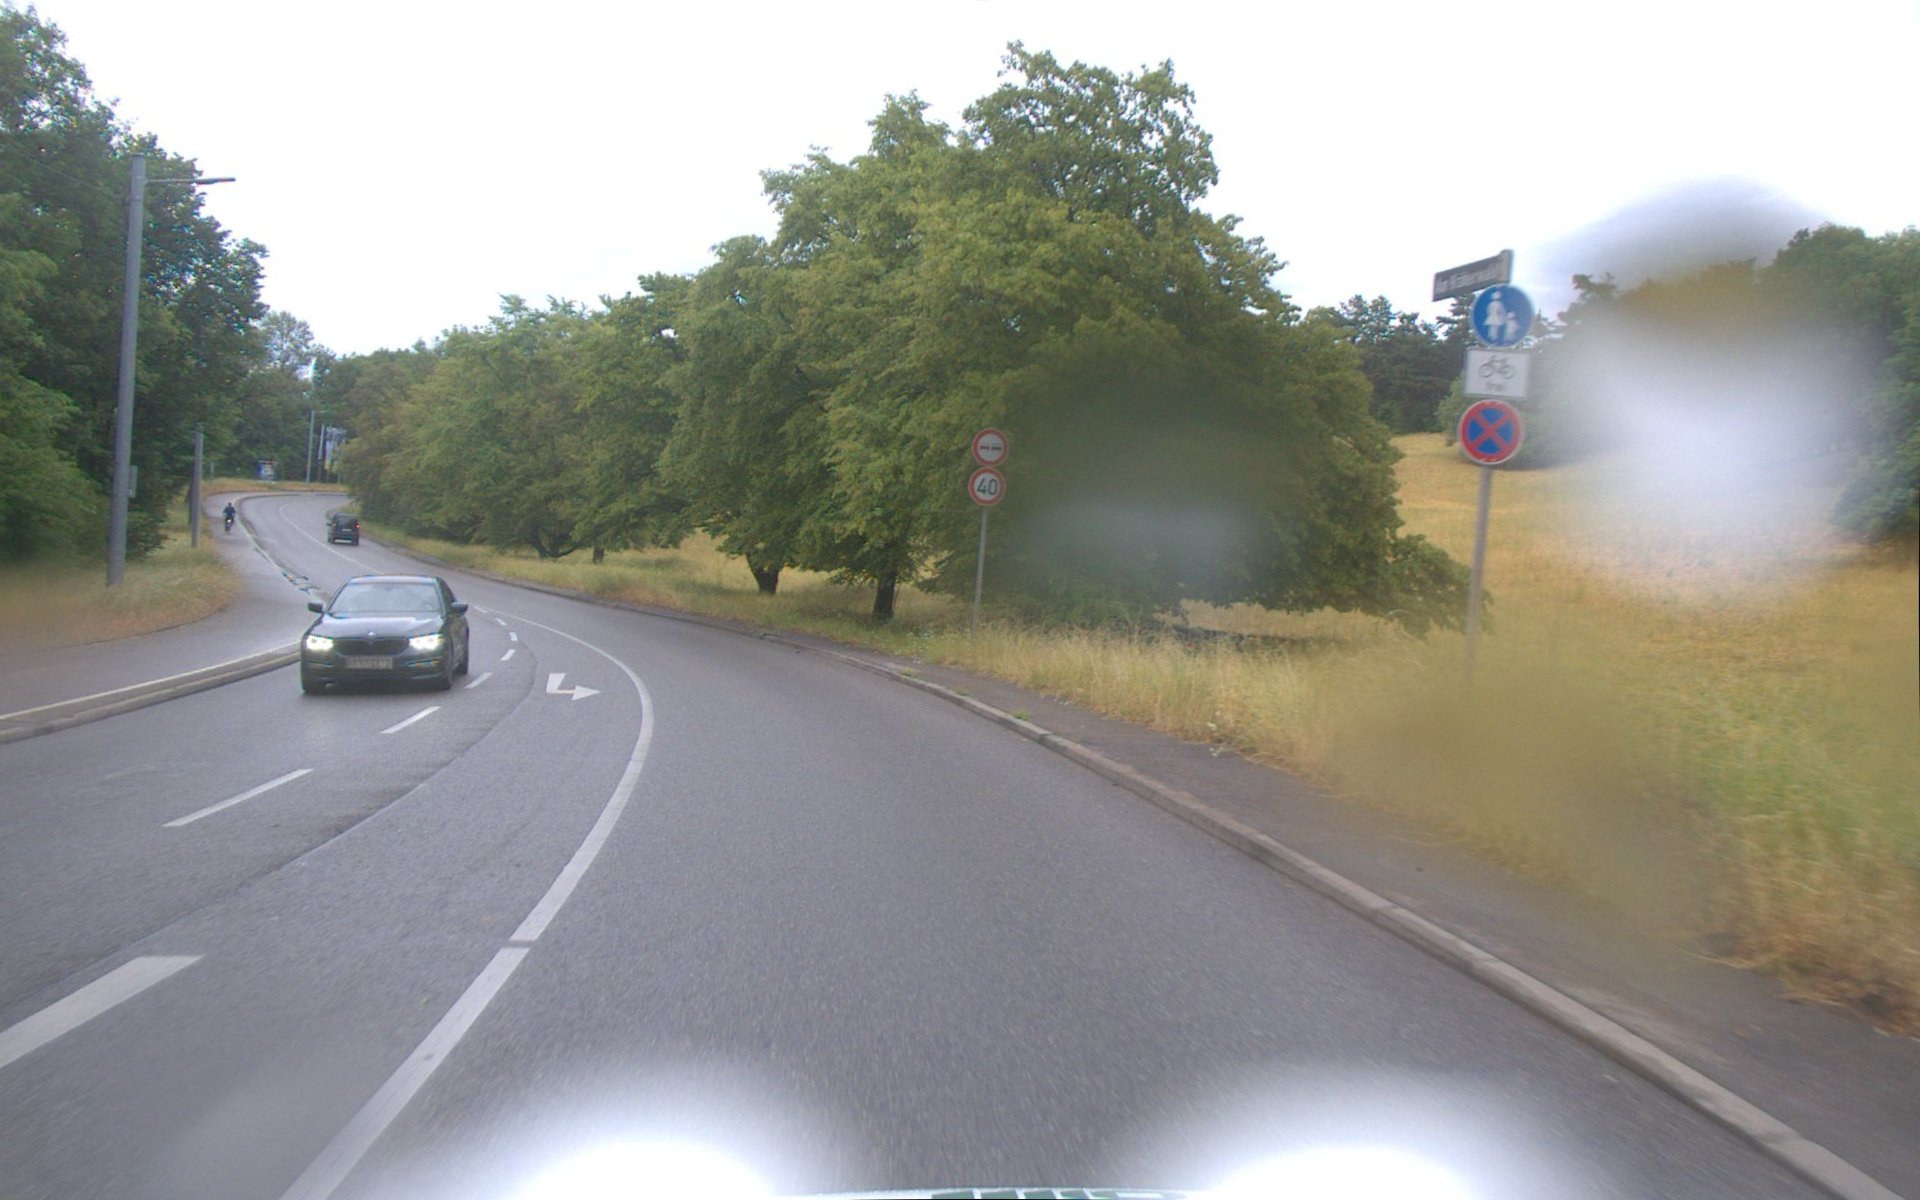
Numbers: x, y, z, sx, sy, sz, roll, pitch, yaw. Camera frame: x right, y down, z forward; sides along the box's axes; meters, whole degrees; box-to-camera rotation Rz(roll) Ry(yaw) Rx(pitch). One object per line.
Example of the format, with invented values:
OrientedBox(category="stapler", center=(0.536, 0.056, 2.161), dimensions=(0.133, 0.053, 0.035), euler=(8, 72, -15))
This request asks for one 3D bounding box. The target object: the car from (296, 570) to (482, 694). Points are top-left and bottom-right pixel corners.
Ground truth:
OrientedBox(category="car", center=(-7.750, 0.369, 22.843), dimensions=(1.814, 1.527, 4.618), euler=(0, 1, -12))

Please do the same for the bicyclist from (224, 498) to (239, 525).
OrientedBox(category="bicyclist", center=(-43.974, -5.341, 99.862), dimensions=(0.700, 1.582, 1.161), euler=(5, 1, -26))

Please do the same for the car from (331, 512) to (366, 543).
OrientedBox(category="car", center=(-38.375, -4.564, 103.743), dimensions=(1.719, 1.746, 3.971), euler=(4, 2, -25))

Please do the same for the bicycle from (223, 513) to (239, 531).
OrientedBox(category="bicycle", center=(-43.963, -4.735, 99.749), dimensions=(0.715, 0.958, 2.530), euler=(5, 2, -26))
